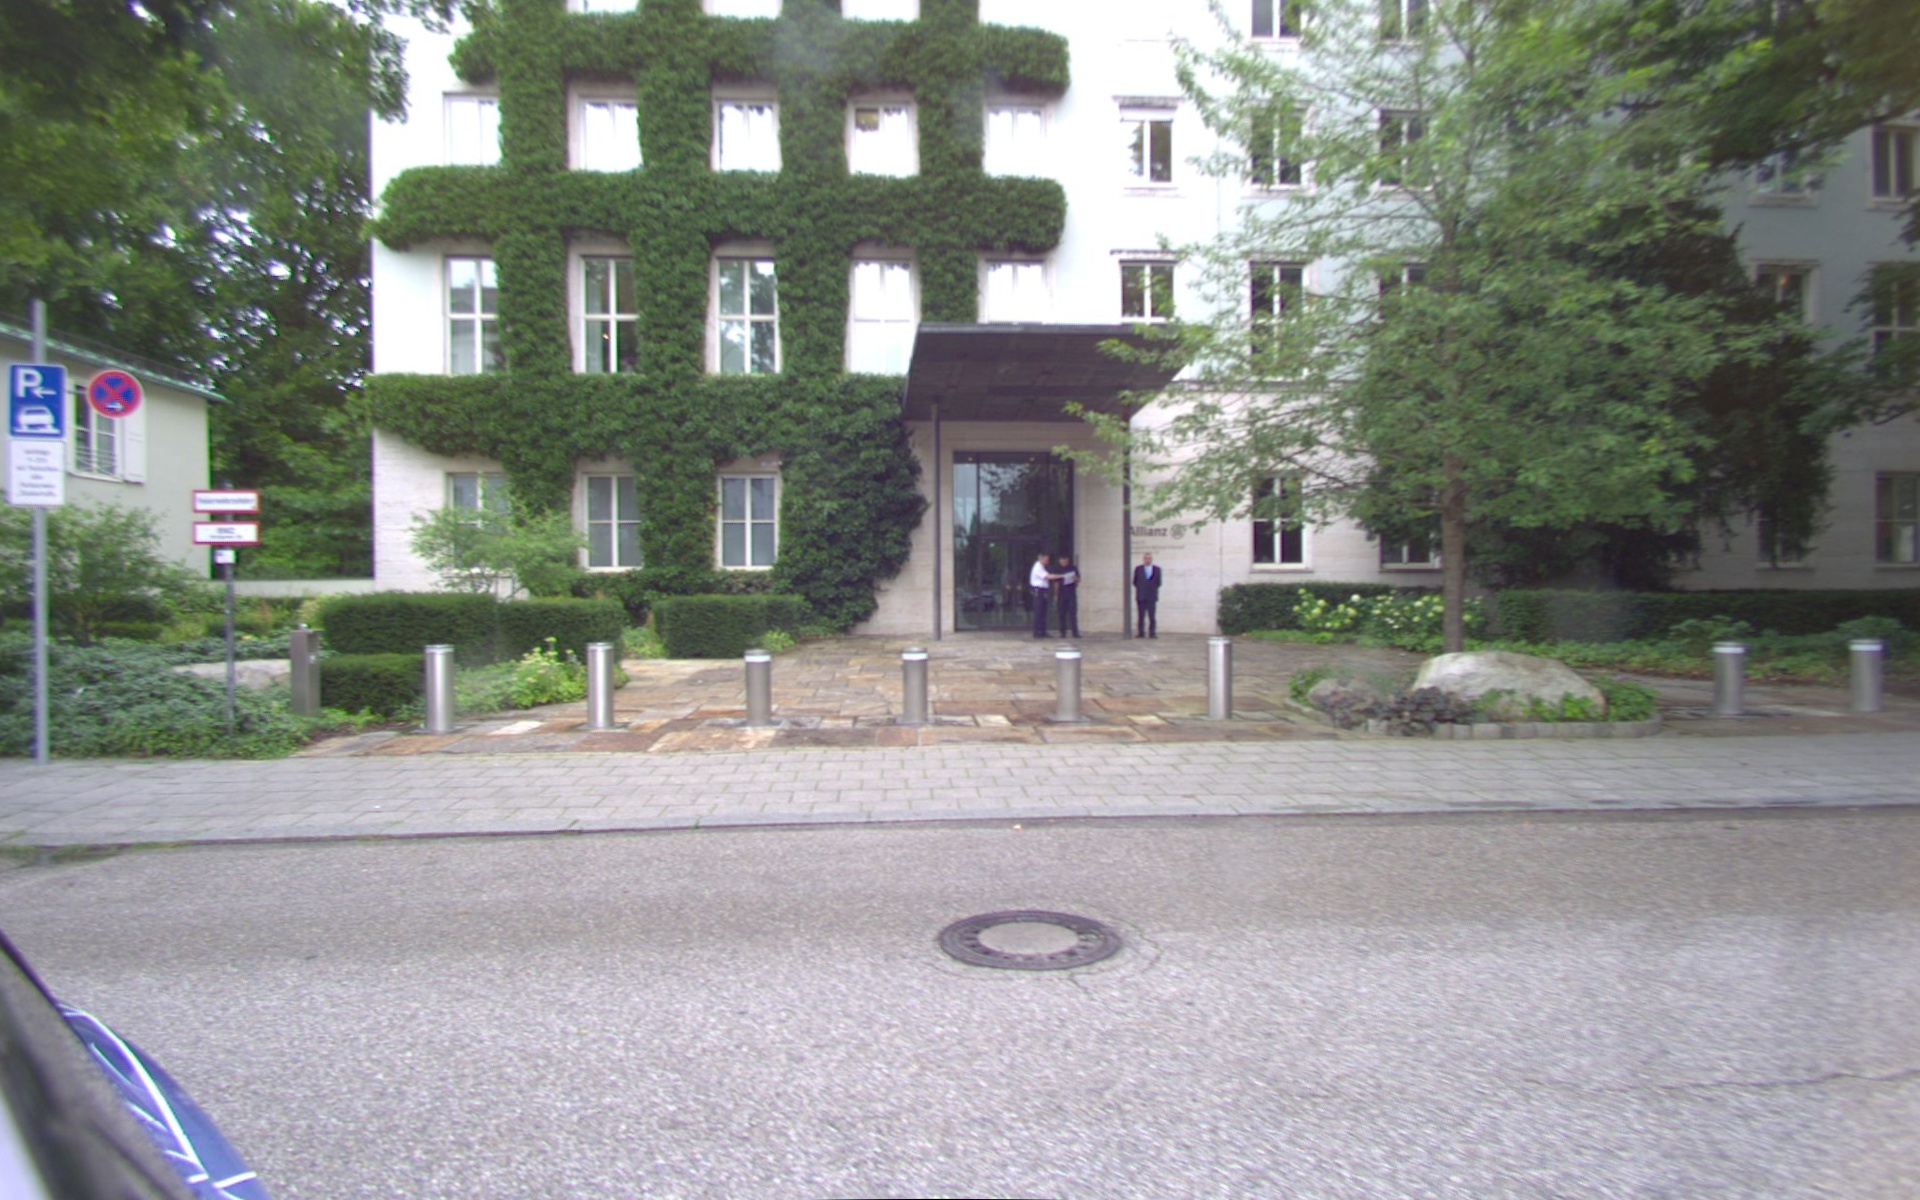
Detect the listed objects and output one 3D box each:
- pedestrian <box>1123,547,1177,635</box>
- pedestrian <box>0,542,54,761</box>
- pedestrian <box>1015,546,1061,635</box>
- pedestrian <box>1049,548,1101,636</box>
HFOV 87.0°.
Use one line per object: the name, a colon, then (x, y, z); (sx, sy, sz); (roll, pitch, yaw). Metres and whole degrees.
pedestrian: (3.892, -0.169, 20.780); (0.887, 1.766, 0.754); (0, 0, -8)
pedestrian: (-8.584, 0.435, 8.787); (0.784, 1.866, 0.716); (0, 1, -6)
pedestrian: (1.567, -0.188, 20.488); (0.741, 1.766, 0.902); (-1, 0, -7)
pedestrian: (2.348, -0.166, 20.790); (0.887, 1.766, 0.754); (0, 0, -8)
